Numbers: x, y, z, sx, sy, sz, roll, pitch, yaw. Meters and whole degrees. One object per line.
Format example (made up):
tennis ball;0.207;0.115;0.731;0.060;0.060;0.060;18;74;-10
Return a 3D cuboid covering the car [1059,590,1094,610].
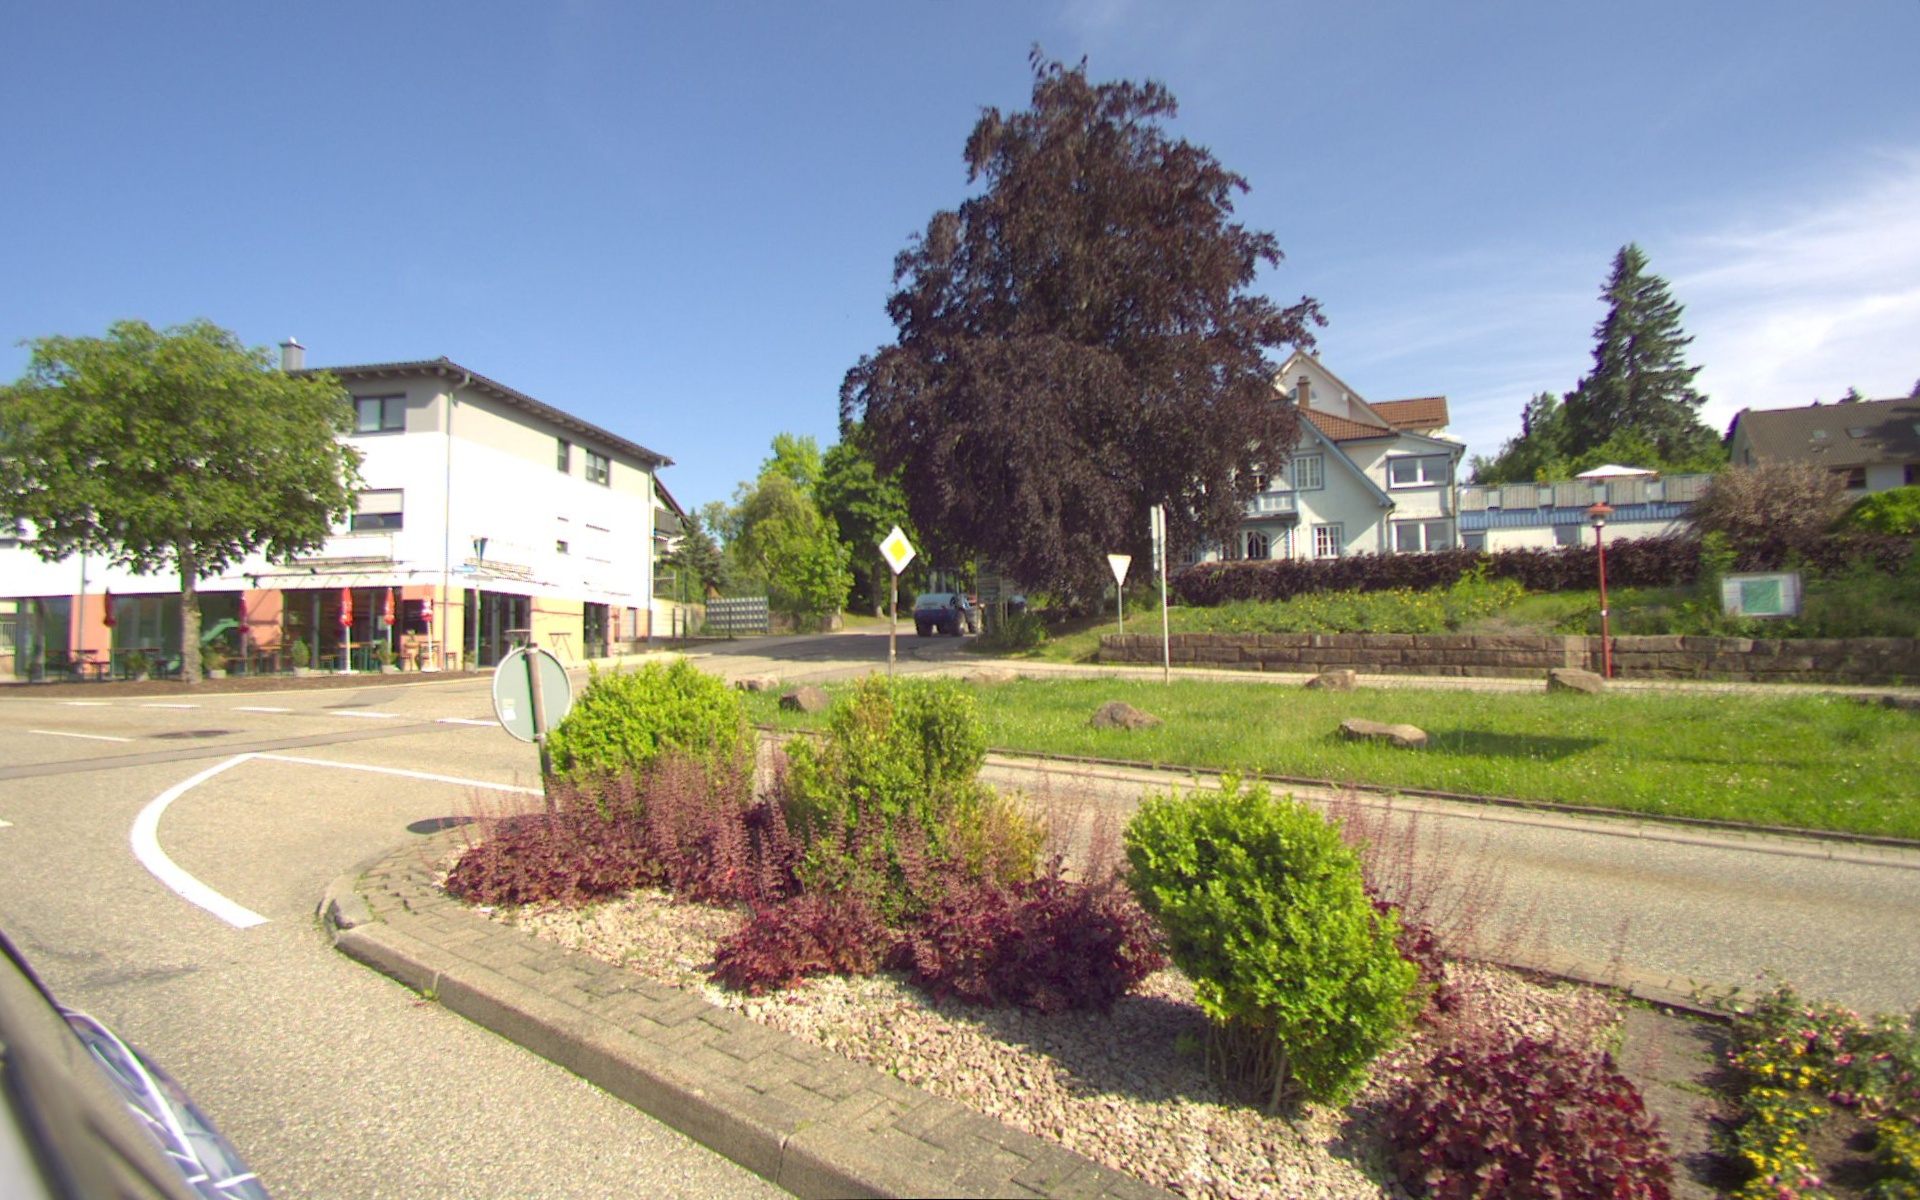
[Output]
car;9.128;-0.015;79.029;1.764;1.481;3.783;-2;0;22

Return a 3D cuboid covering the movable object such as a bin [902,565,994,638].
movable object such as a bin;-0.405;0.067;41.255;1.986;2.790;5.069;-1;0;21
